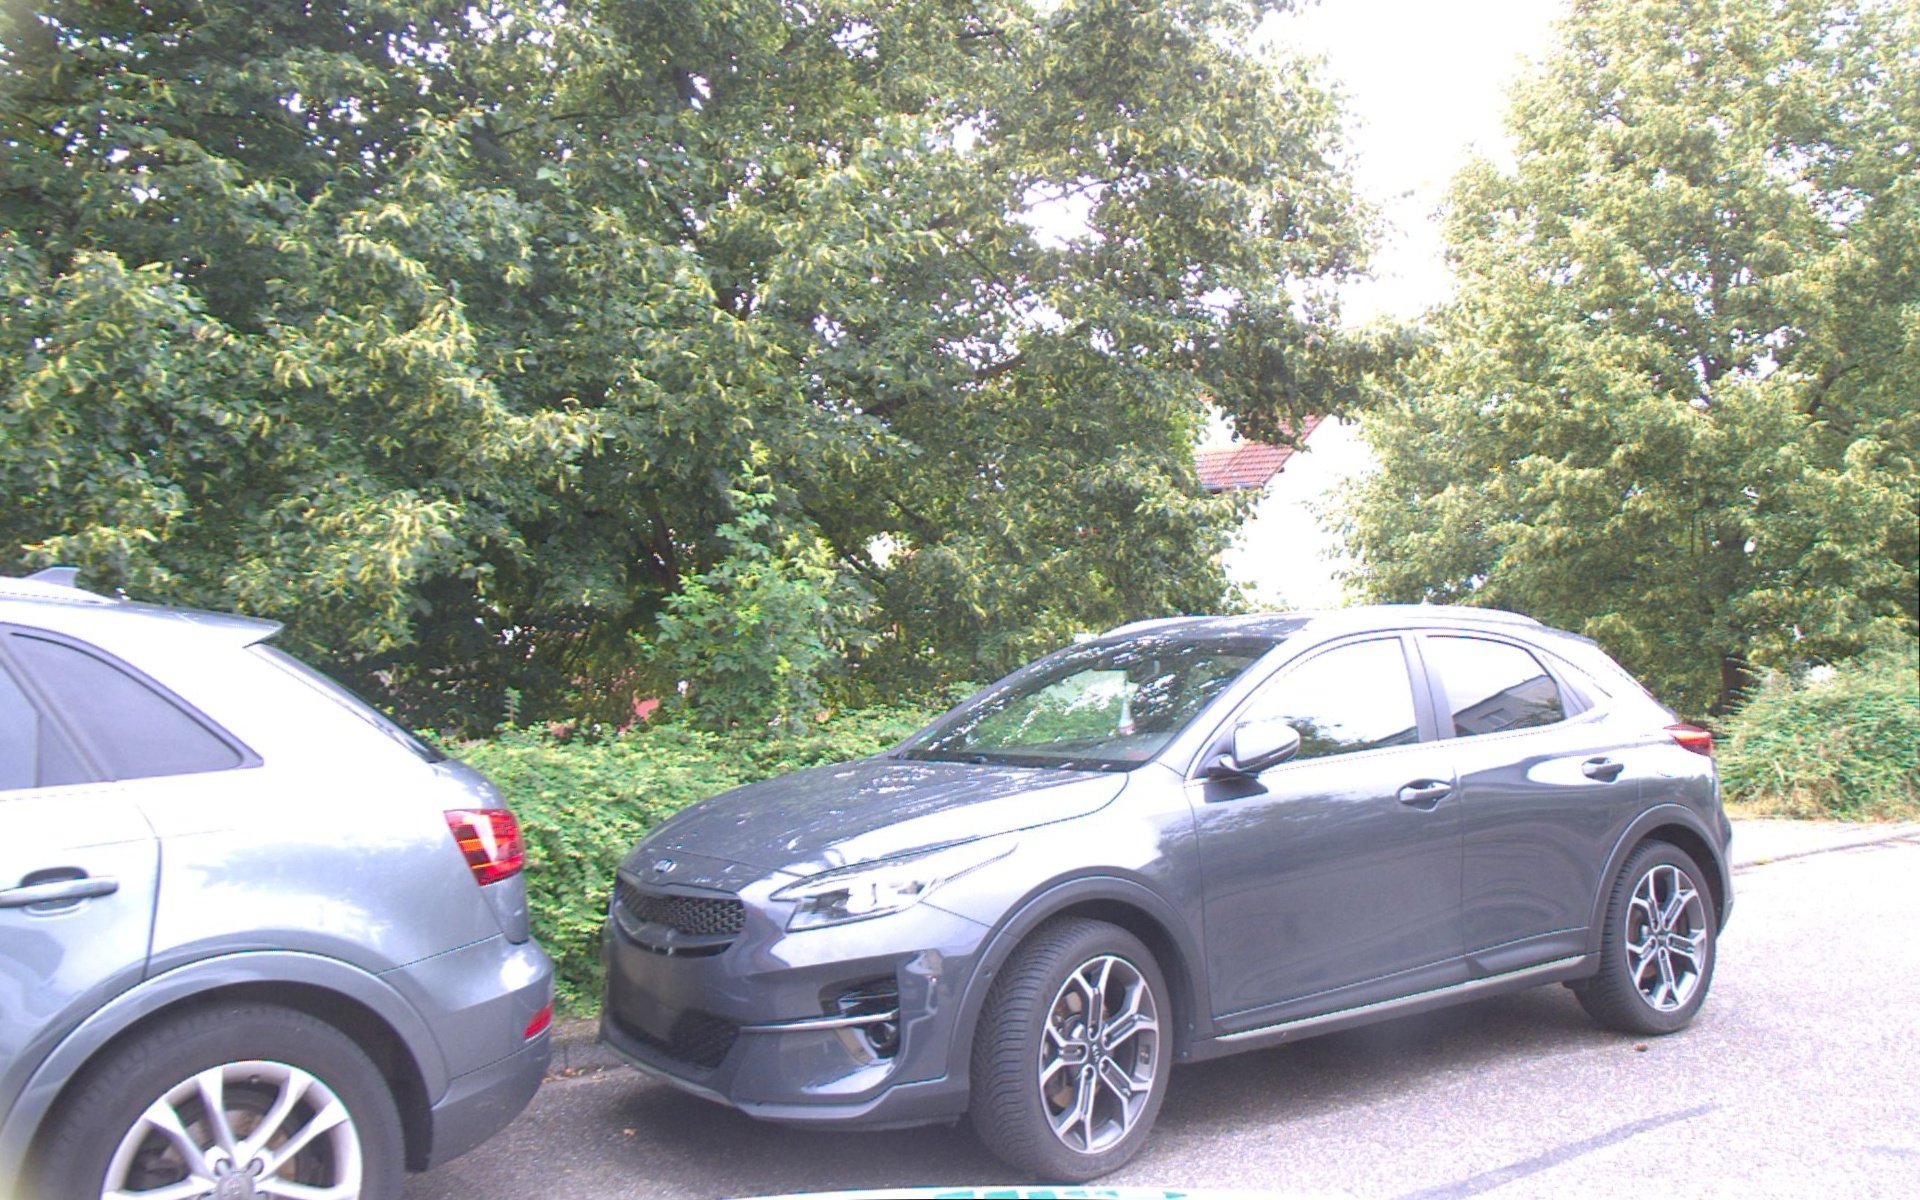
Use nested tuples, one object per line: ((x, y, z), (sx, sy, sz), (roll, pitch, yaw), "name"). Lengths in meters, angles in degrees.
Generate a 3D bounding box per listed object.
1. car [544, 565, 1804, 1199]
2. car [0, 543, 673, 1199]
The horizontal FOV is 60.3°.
((0.892, 0.721, 5.599), (4.145, 1.558, 1.726), (0, -2, -35), "car")
((-2.781, 0.711, 2.909), (4.210, 1.558, 1.722), (0, -2, -40), "car")
